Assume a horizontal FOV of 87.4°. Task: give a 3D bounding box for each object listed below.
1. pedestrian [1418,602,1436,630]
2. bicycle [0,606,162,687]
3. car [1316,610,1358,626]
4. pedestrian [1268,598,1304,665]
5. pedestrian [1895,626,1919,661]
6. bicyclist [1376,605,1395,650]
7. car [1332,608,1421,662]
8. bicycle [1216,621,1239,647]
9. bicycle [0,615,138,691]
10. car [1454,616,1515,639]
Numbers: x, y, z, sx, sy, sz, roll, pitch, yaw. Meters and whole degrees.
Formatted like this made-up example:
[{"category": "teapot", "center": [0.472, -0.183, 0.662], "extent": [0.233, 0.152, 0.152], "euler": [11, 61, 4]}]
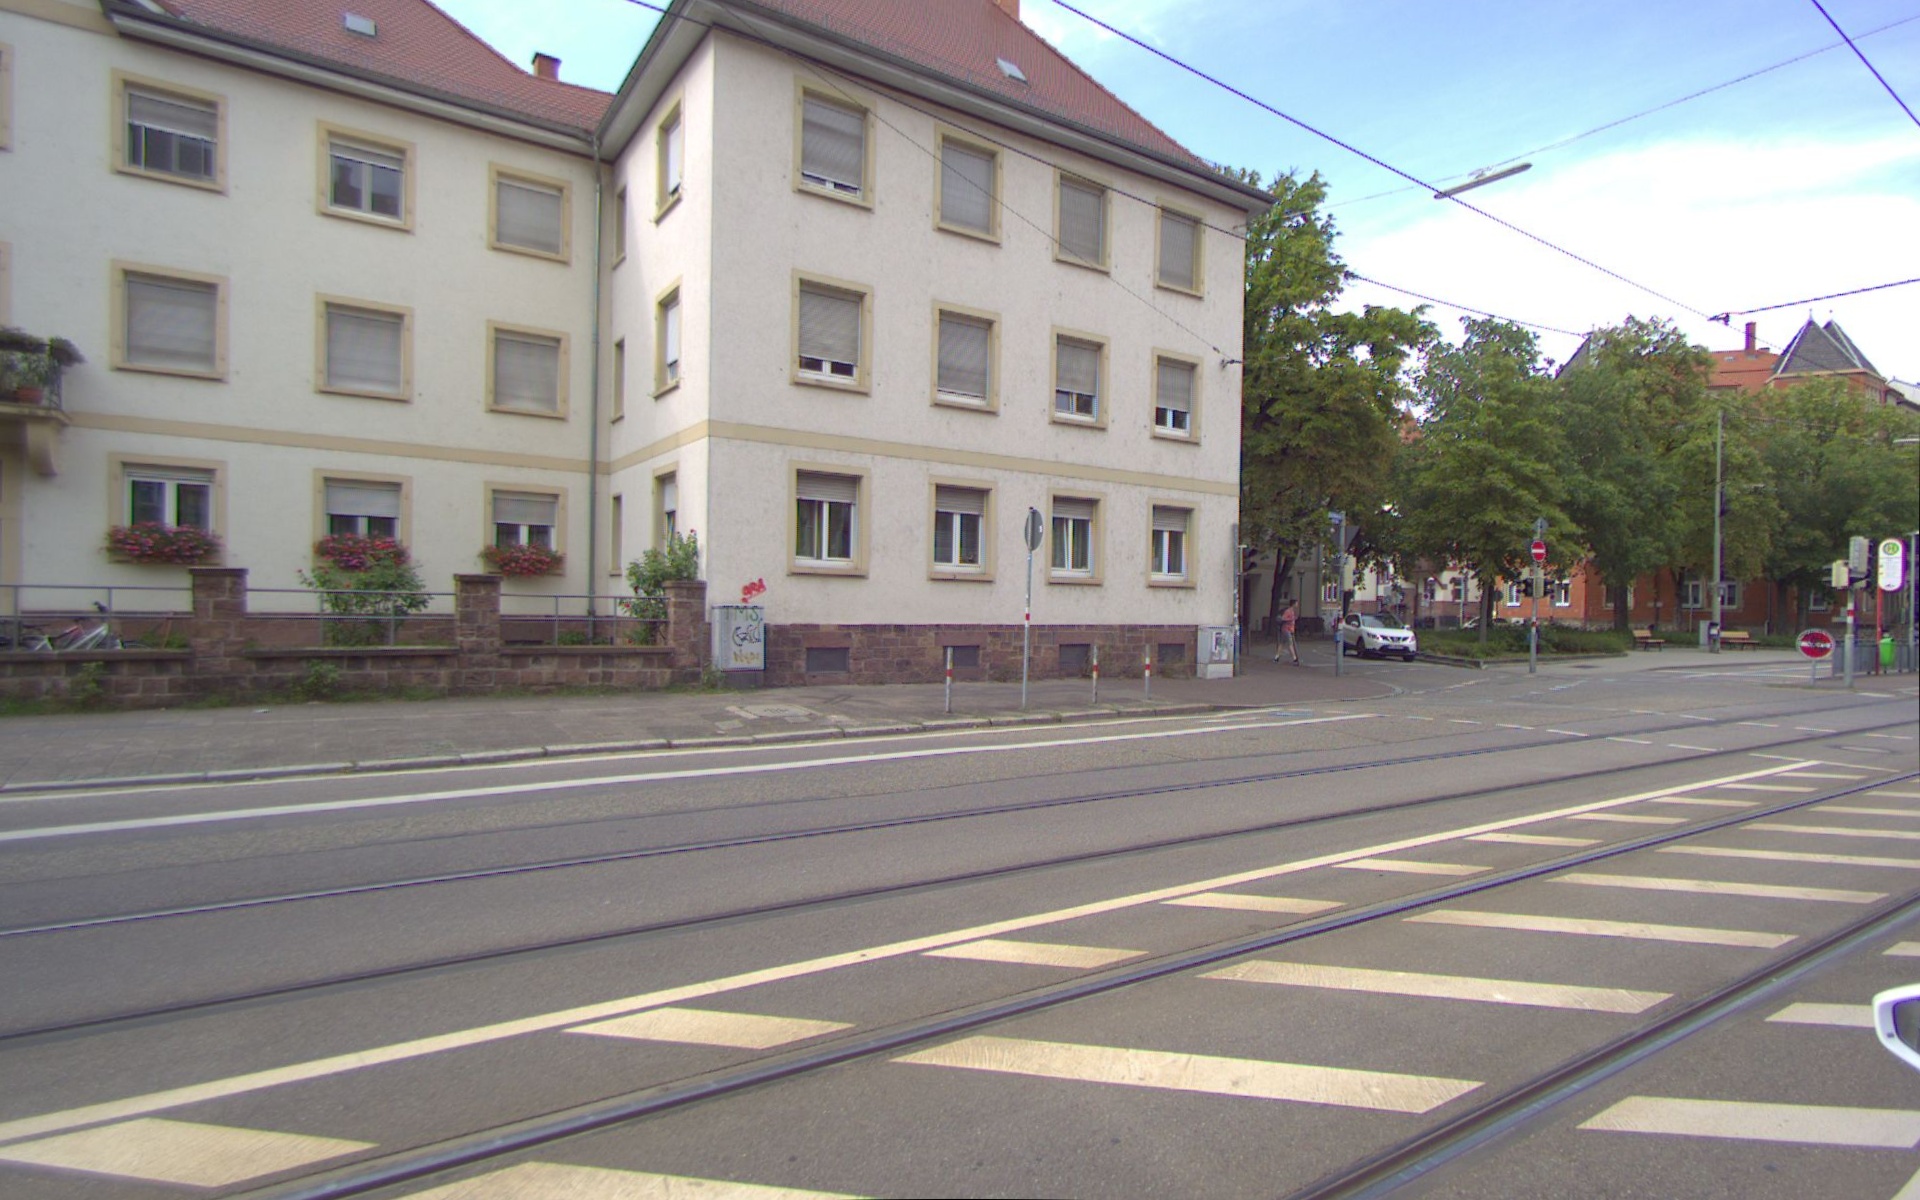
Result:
[{"category": "pedestrian", "center": [29.616, 0.999, 63.681], "extent": [0.720, 1.777, 0.751], "euler": [1, 0, -15]}, {"category": "bicycle", "center": [-10.767, 0.551, 12.179], "extent": [1.654, 0.927, 0.475], "euler": [1, 0, -34]}, {"category": "car", "center": [34.087, 1.605, 91.017], "extent": [1.783, 1.414, 3.993], "euler": [1, 0, -10]}, {"category": "pedestrian", "center": [9.635, 0.920, 29.729], "extent": [0.819, 1.926, 0.733], "euler": [1, 0, 1]}, {"category": "pedestrian", "center": [48.591, 2.224, 51.492], "extent": [0.726, 1.725, 0.826], "euler": [1, 0, -38]}, {"category": "bicyclist", "center": [17.120, 1.099, 40.392], "extent": [0.601, 1.799, 0.909], "euler": [1, 0, 29]}, {"category": "car", "center": [14.697, 1.255, 35.695], "extent": [1.804, 1.743, 4.163], "euler": [2, -2, 7]}, {"category": "bicycle", "center": [11.375, 1.434, 42.684], "extent": [0.486, 1.022, 1.836], "euler": [1, 0, 30]}, {"category": "bicycle", "center": [-11.576, 0.661, 12.797], "extent": [1.654, 0.927, 0.475], "euler": [1, 0, -34]}, {"category": "car", "center": [37.896, 1.970, 72.672], "extent": [1.783, 1.497, 3.993], "euler": [1, 0, -10]}]
